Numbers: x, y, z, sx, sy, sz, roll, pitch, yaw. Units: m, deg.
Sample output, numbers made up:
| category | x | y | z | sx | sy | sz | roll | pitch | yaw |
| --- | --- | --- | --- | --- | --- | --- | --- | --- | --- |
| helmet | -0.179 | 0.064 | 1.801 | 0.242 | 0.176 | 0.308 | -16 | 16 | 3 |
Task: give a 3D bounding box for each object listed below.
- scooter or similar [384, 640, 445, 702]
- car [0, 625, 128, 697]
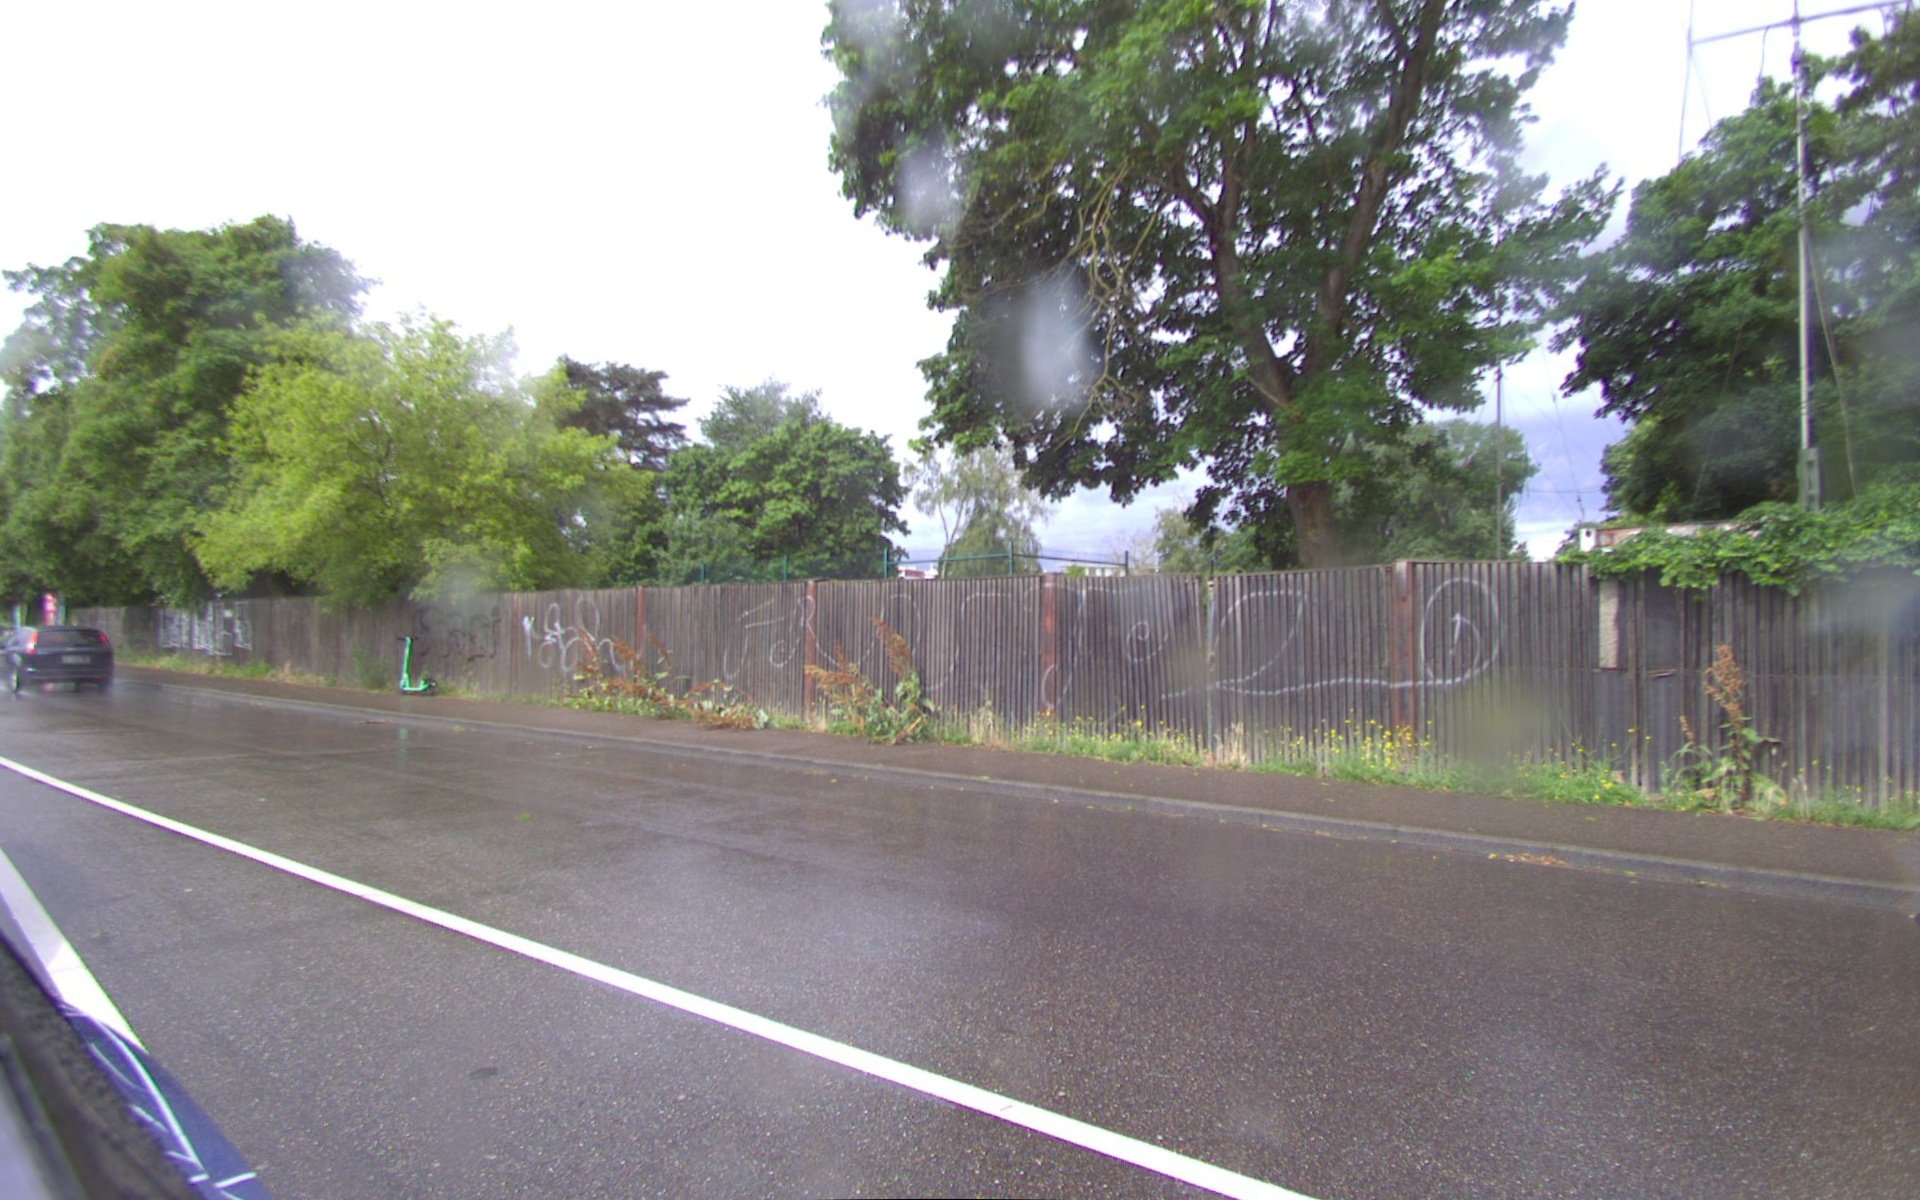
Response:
| category | x | y | z | sx | sy | sz | roll | pitch | yaw |
| --- | --- | --- | --- | --- | --- | --- | --- | --- | --- |
| scooter or similar | -10.816 | 1.386 | 20.067 | 1.205 | 1.171 | 0.557 | -1 | -2 | 35 |
| car | -21.227 | 1.364 | 23.625 | 4.171 | 1.494 | 1.857 | 0 | -2 | 38 |
